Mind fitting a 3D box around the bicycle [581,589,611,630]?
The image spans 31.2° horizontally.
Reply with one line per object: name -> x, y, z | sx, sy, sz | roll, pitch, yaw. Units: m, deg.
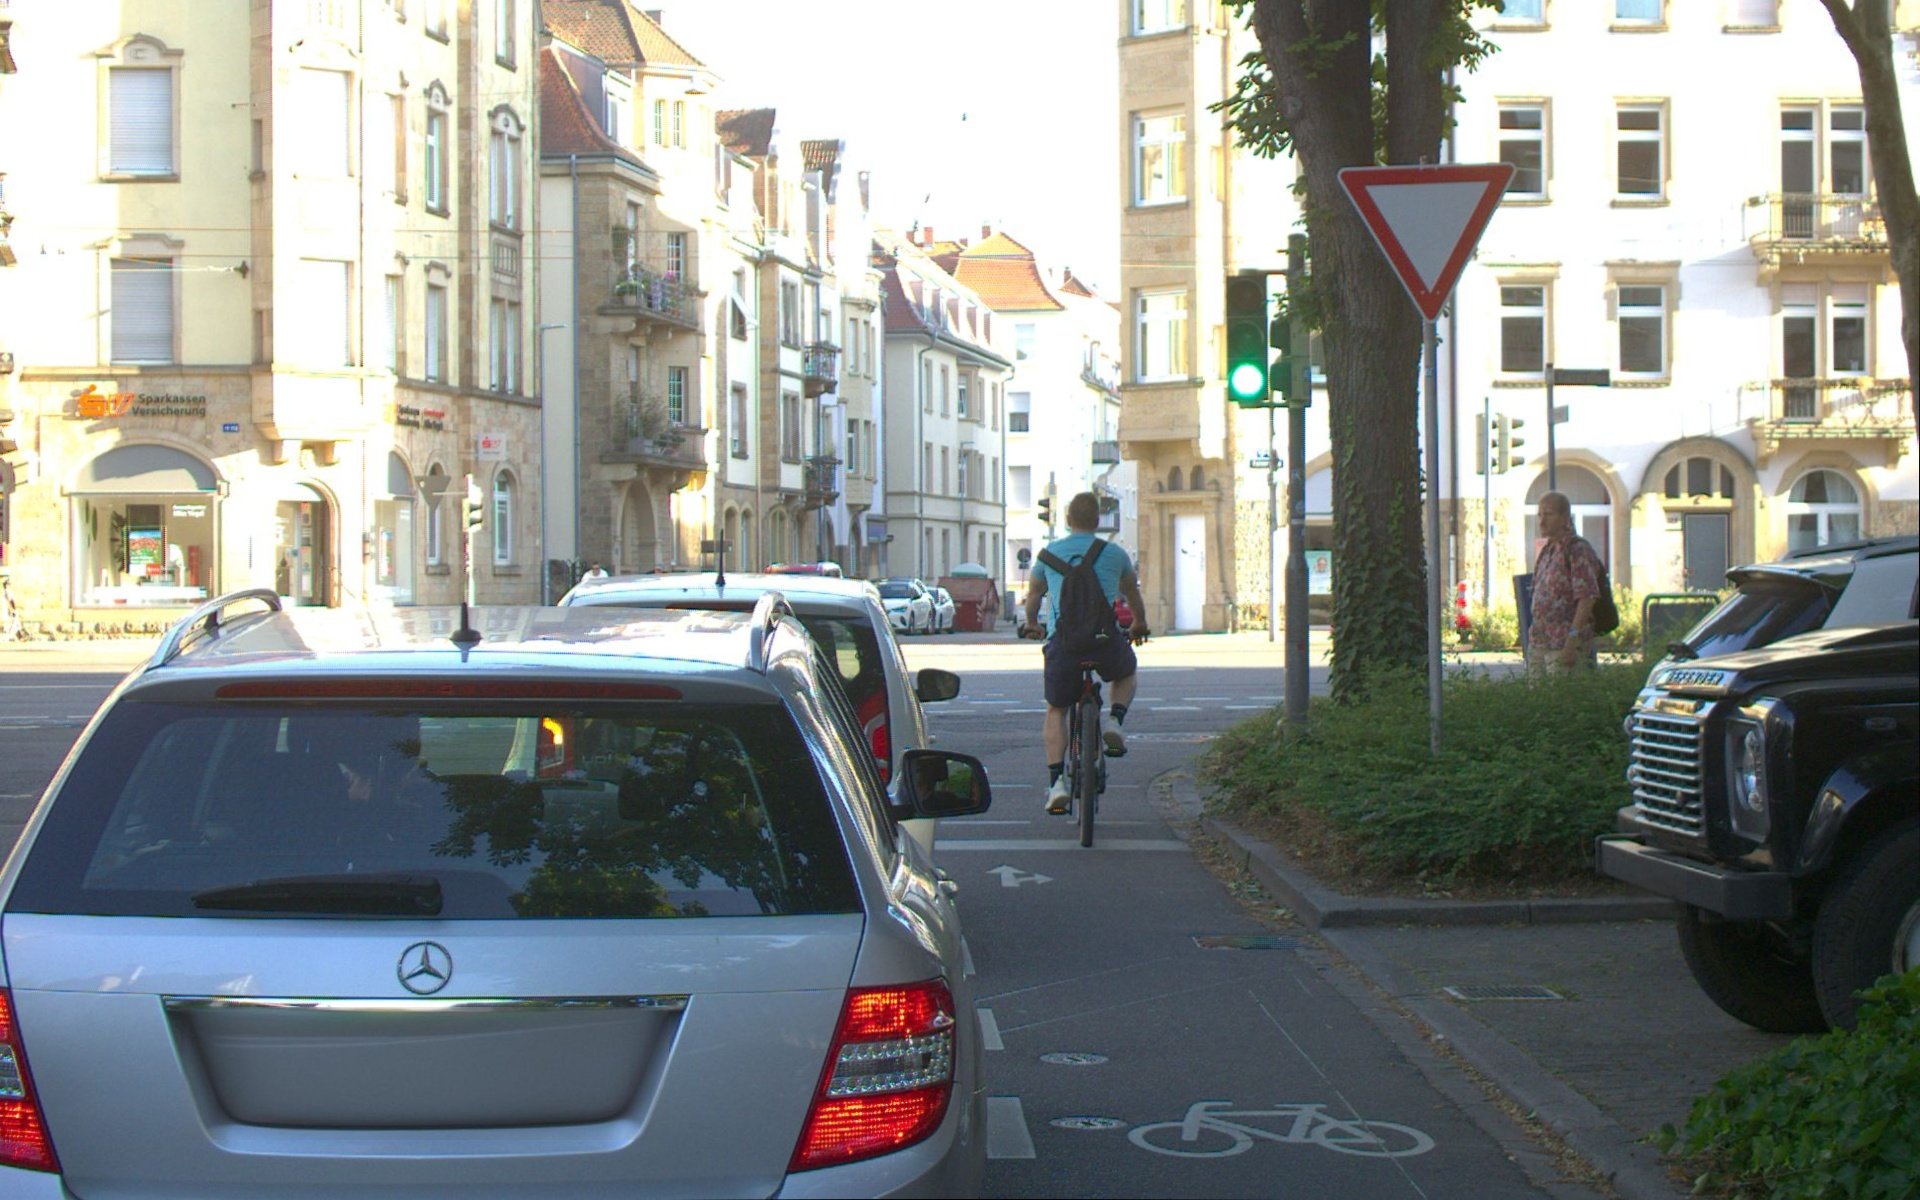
bicycle -> -7.617, 0.188, 72.032 | 0.568, 0.832, 1.566 | 0, 1, -4

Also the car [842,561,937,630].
car -> -1.804, -0.134, 89.003 | 1.687, 1.716, 3.998 | 0, 1, 10

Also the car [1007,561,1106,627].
car -> 2.440, -0.168, 85.641 | 1.722, 1.473, 3.998 | -2, 1, 12

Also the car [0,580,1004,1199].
car -> -0.888, 0.704, 6.616 | 1.690, 1.424, 3.493 | 1, 1, -3

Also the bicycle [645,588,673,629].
bicycle -> -6.342, 0.174, 72.482 | 0.568, 0.832, 1.566 | 0, 1, -4

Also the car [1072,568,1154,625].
car -> 4.565, -0.130, 102.023 | 1.722, 1.473, 3.998 | -4, 1, 12

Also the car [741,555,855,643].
car -> -3.719, -0.045, 79.617 | 1.938, 1.952, 4.149 | 0, 1, 8

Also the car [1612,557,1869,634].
car -> 11.190, -0.070, 49.391 | 3.364, 1.065, 1.380 | 0, 1, -1

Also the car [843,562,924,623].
car -> -2.247, -0.212, 102.287 | 1.651, 1.777, 3.861 | 0, 0, 11

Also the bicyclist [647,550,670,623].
bicyclist -> -6.356, -0.291, 72.473 | 0.466, 1.516, 0.694 | 0, 1, -4

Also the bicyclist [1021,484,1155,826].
bicyclist -> 0.673, 0.284, 18.305 | 0.646, 1.769, 0.831 | 1, 0, -1

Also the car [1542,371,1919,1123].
car -> 4.148, 0.299, 10.010 | 4.490, 1.949, 1.793 | -2, 1, -3

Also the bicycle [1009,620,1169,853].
bicycle -> 0.663, 0.694, 18.314 | 0.742, 1.114, 2.013 | 1, 1, -1

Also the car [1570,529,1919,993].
car -> 4.247, 0.510, 12.909 | 3.480, 1.580, 1.711 | -1, 1, -6

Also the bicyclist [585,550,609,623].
bicyclist -> -7.617, -0.290, 72.167 | 0.466, 1.509, 0.655 | 0, 1, -4

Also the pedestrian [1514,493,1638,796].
pedestrian -> 3.796, 0.267, 21.214 | 0.631, 1.838, 0.575 | 0, 1, -4

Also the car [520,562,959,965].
car -> -0.842, 0.557, 13.878 | 1.533, 1.386, 3.599 | 0, 1, -2
